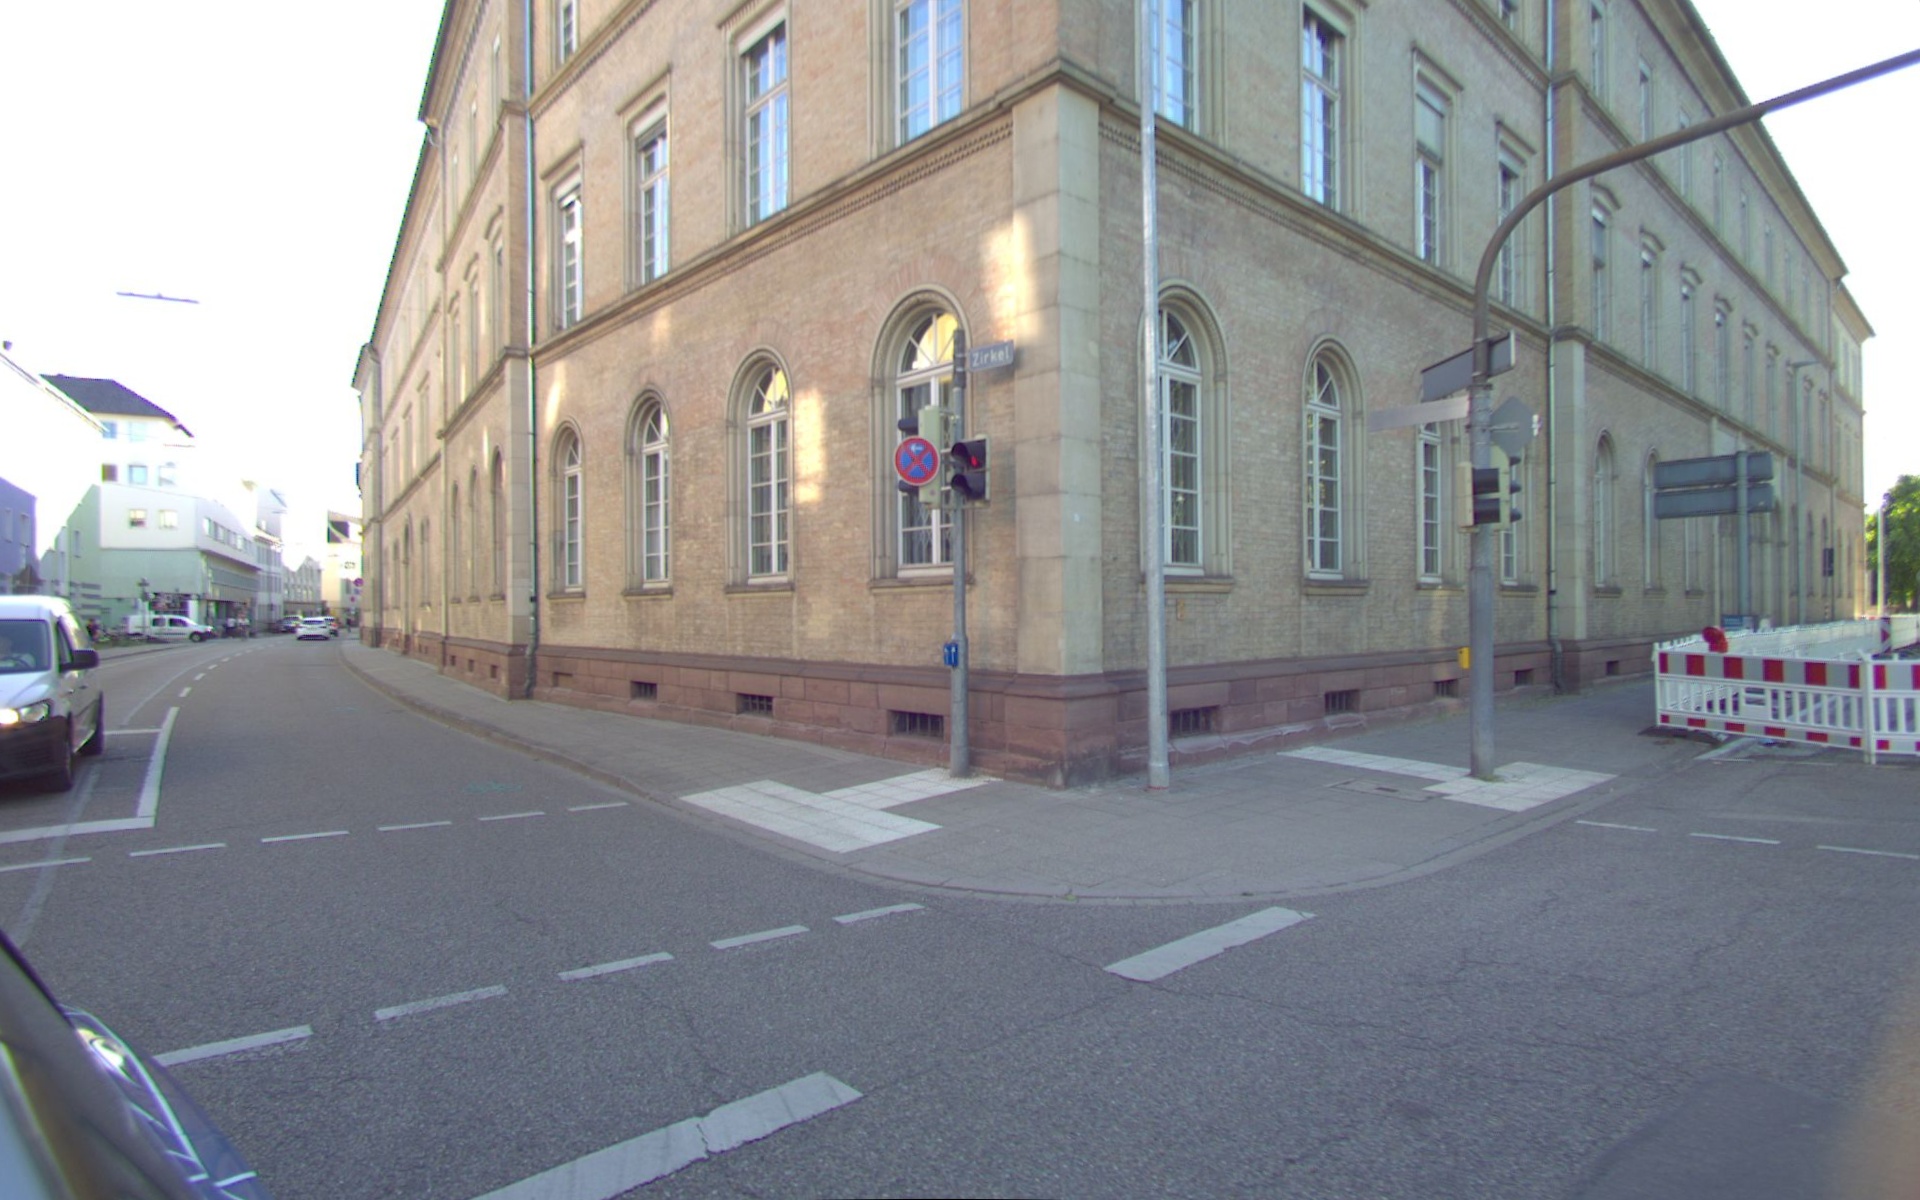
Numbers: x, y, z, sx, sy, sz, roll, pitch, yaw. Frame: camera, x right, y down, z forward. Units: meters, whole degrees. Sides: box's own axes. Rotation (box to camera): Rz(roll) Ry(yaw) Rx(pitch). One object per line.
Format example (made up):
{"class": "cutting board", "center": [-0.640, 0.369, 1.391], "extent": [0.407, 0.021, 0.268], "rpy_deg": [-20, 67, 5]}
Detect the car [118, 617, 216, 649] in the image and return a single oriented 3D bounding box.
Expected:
{"class": "car", "center": [-51.062, 2.080, 65.281], "extent": [4.686, 1.953, 2.006], "rpy_deg": [0, -1, -28]}

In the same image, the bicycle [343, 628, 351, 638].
{"class": "bicycle", "center": [-63.283, 3.397, 104.465], "extent": [0.599, 0.935, 2.271], "rpy_deg": [0, -1, -32]}

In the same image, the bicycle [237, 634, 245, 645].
{"class": "bicycle", "center": [-46.082, 2.537, 64.878], "extent": [0.342, 0.729, 1.121], "rpy_deg": [0, -1, -31]}

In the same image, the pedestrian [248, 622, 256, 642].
{"class": "pedestrian", "center": [-55.593, 2.504, 79.429], "extent": [0.500, 1.572, 0.412], "rpy_deg": [0, -1, -32]}

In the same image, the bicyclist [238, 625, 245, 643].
{"class": "bicyclist", "center": [-46.089, 2.165, 64.888], "extent": [0.342, 1.116, 0.369], "rpy_deg": [0, -1, -31]}

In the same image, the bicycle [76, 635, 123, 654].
{"class": "bicycle", "center": [-44.937, 2.320, 52.877], "extent": [1.747, 0.946, 0.585], "rpy_deg": [2, -2, -29]}

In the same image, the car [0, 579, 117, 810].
{"class": "car", "center": [-9.674, 0.807, 9.942], "extent": [1.790, 1.850, 5.353], "rpy_deg": [0, -1, -36]}

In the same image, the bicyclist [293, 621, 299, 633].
{"class": "bicyclist", "center": [-70.316, 2.827, 107.202], "extent": [0.540, 1.220, 0.585], "rpy_deg": [0, -1, -31]}

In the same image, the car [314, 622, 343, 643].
{"class": "car", "center": [-50.036, 2.539, 80.278], "extent": [1.662, 1.594, 4.288], "rpy_deg": [2, -2, -29]}

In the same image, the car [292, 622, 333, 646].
{"class": "car", "center": [-42.988, 2.223, 67.266], "extent": [1.860, 1.487, 4.559], "rpy_deg": [2, -2, -28]}

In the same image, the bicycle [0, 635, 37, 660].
{"class": "bicycle", "center": [-38.006, 1.882, 40.274], "extent": [1.747, 1.003, 0.585], "rpy_deg": [2, -2, -29]}

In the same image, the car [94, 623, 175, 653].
{"class": "car", "center": [-54.797, 2.493, 67.289], "extent": [3.933, 1.704, 1.906], "rpy_deg": [-2, 1, -32]}

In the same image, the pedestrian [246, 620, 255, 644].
{"class": "pedestrian", "center": [-53.899, 2.442, 76.863], "extent": [0.500, 1.775, 0.412], "rpy_deg": [0, -1, -32]}

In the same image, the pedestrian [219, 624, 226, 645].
{"class": "pedestrian", "center": [-55.049, 2.589, 75.527], "extent": [0.365, 1.567, 0.405], "rpy_deg": [0, -1, -30]}

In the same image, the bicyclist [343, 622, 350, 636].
{"class": "bicyclist", "center": [-63.254, 2.959, 104.402], "extent": [0.595, 1.454, 0.580], "rpy_deg": [0, -1, -32]}

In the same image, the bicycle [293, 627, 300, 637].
{"class": "bicycle", "center": [-70.313, 3.368, 107.201], "extent": [0.540, 1.091, 1.969], "rpy_deg": [0, -1, -31]}
